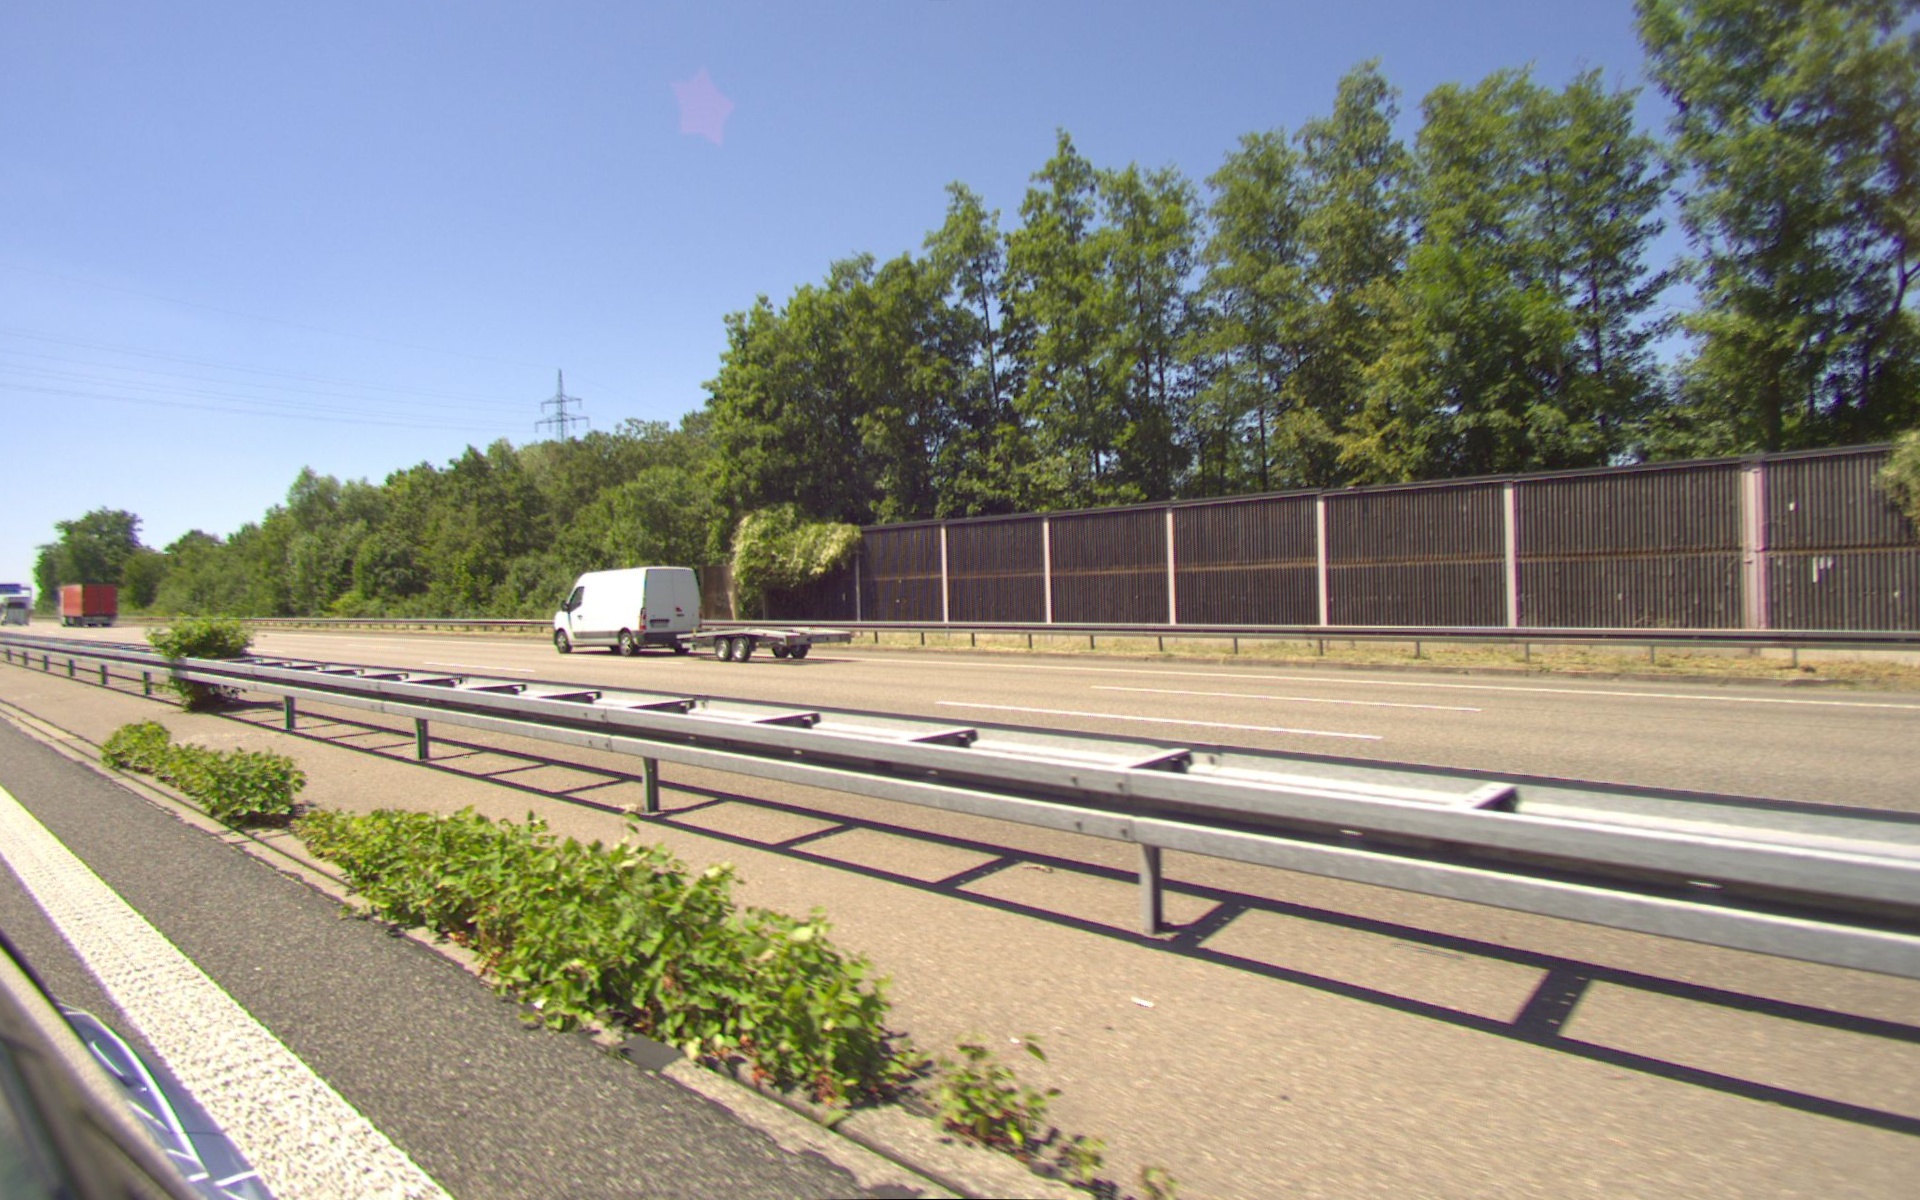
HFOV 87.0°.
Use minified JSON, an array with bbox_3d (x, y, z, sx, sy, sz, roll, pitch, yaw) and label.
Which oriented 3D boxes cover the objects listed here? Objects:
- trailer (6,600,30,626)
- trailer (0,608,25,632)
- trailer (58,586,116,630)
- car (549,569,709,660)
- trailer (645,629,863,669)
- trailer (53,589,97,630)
[{"bbox_3d":[-153.180,2.165,164.498,2.639,3.996,13.675,0,-1,-44],"label":"trailer"},{"bbox_3d":[-106.302,2.238,113.096,4.953,2.633,2.064,-1,-1,41],"label":"trailer"},{"bbox_3d":[-85.502,0.833,98.950,14.048,4.098,2.655,-1,-1,43],"label":"trailer"},{"bbox_3d":[-9.829,0.432,29.832,5.410,2.449,2.003,-1,-1,41],"label":"car"},{"bbox_3d":[-5.413,1.196,25.923,6.278,0.813,2.139,-1,-1,41],"label":"trailer"},{"bbox_3d":[-90.554,0.978,103.562,6.034,4.072,2.660,-1,-1,42],"label":"trailer"}]
